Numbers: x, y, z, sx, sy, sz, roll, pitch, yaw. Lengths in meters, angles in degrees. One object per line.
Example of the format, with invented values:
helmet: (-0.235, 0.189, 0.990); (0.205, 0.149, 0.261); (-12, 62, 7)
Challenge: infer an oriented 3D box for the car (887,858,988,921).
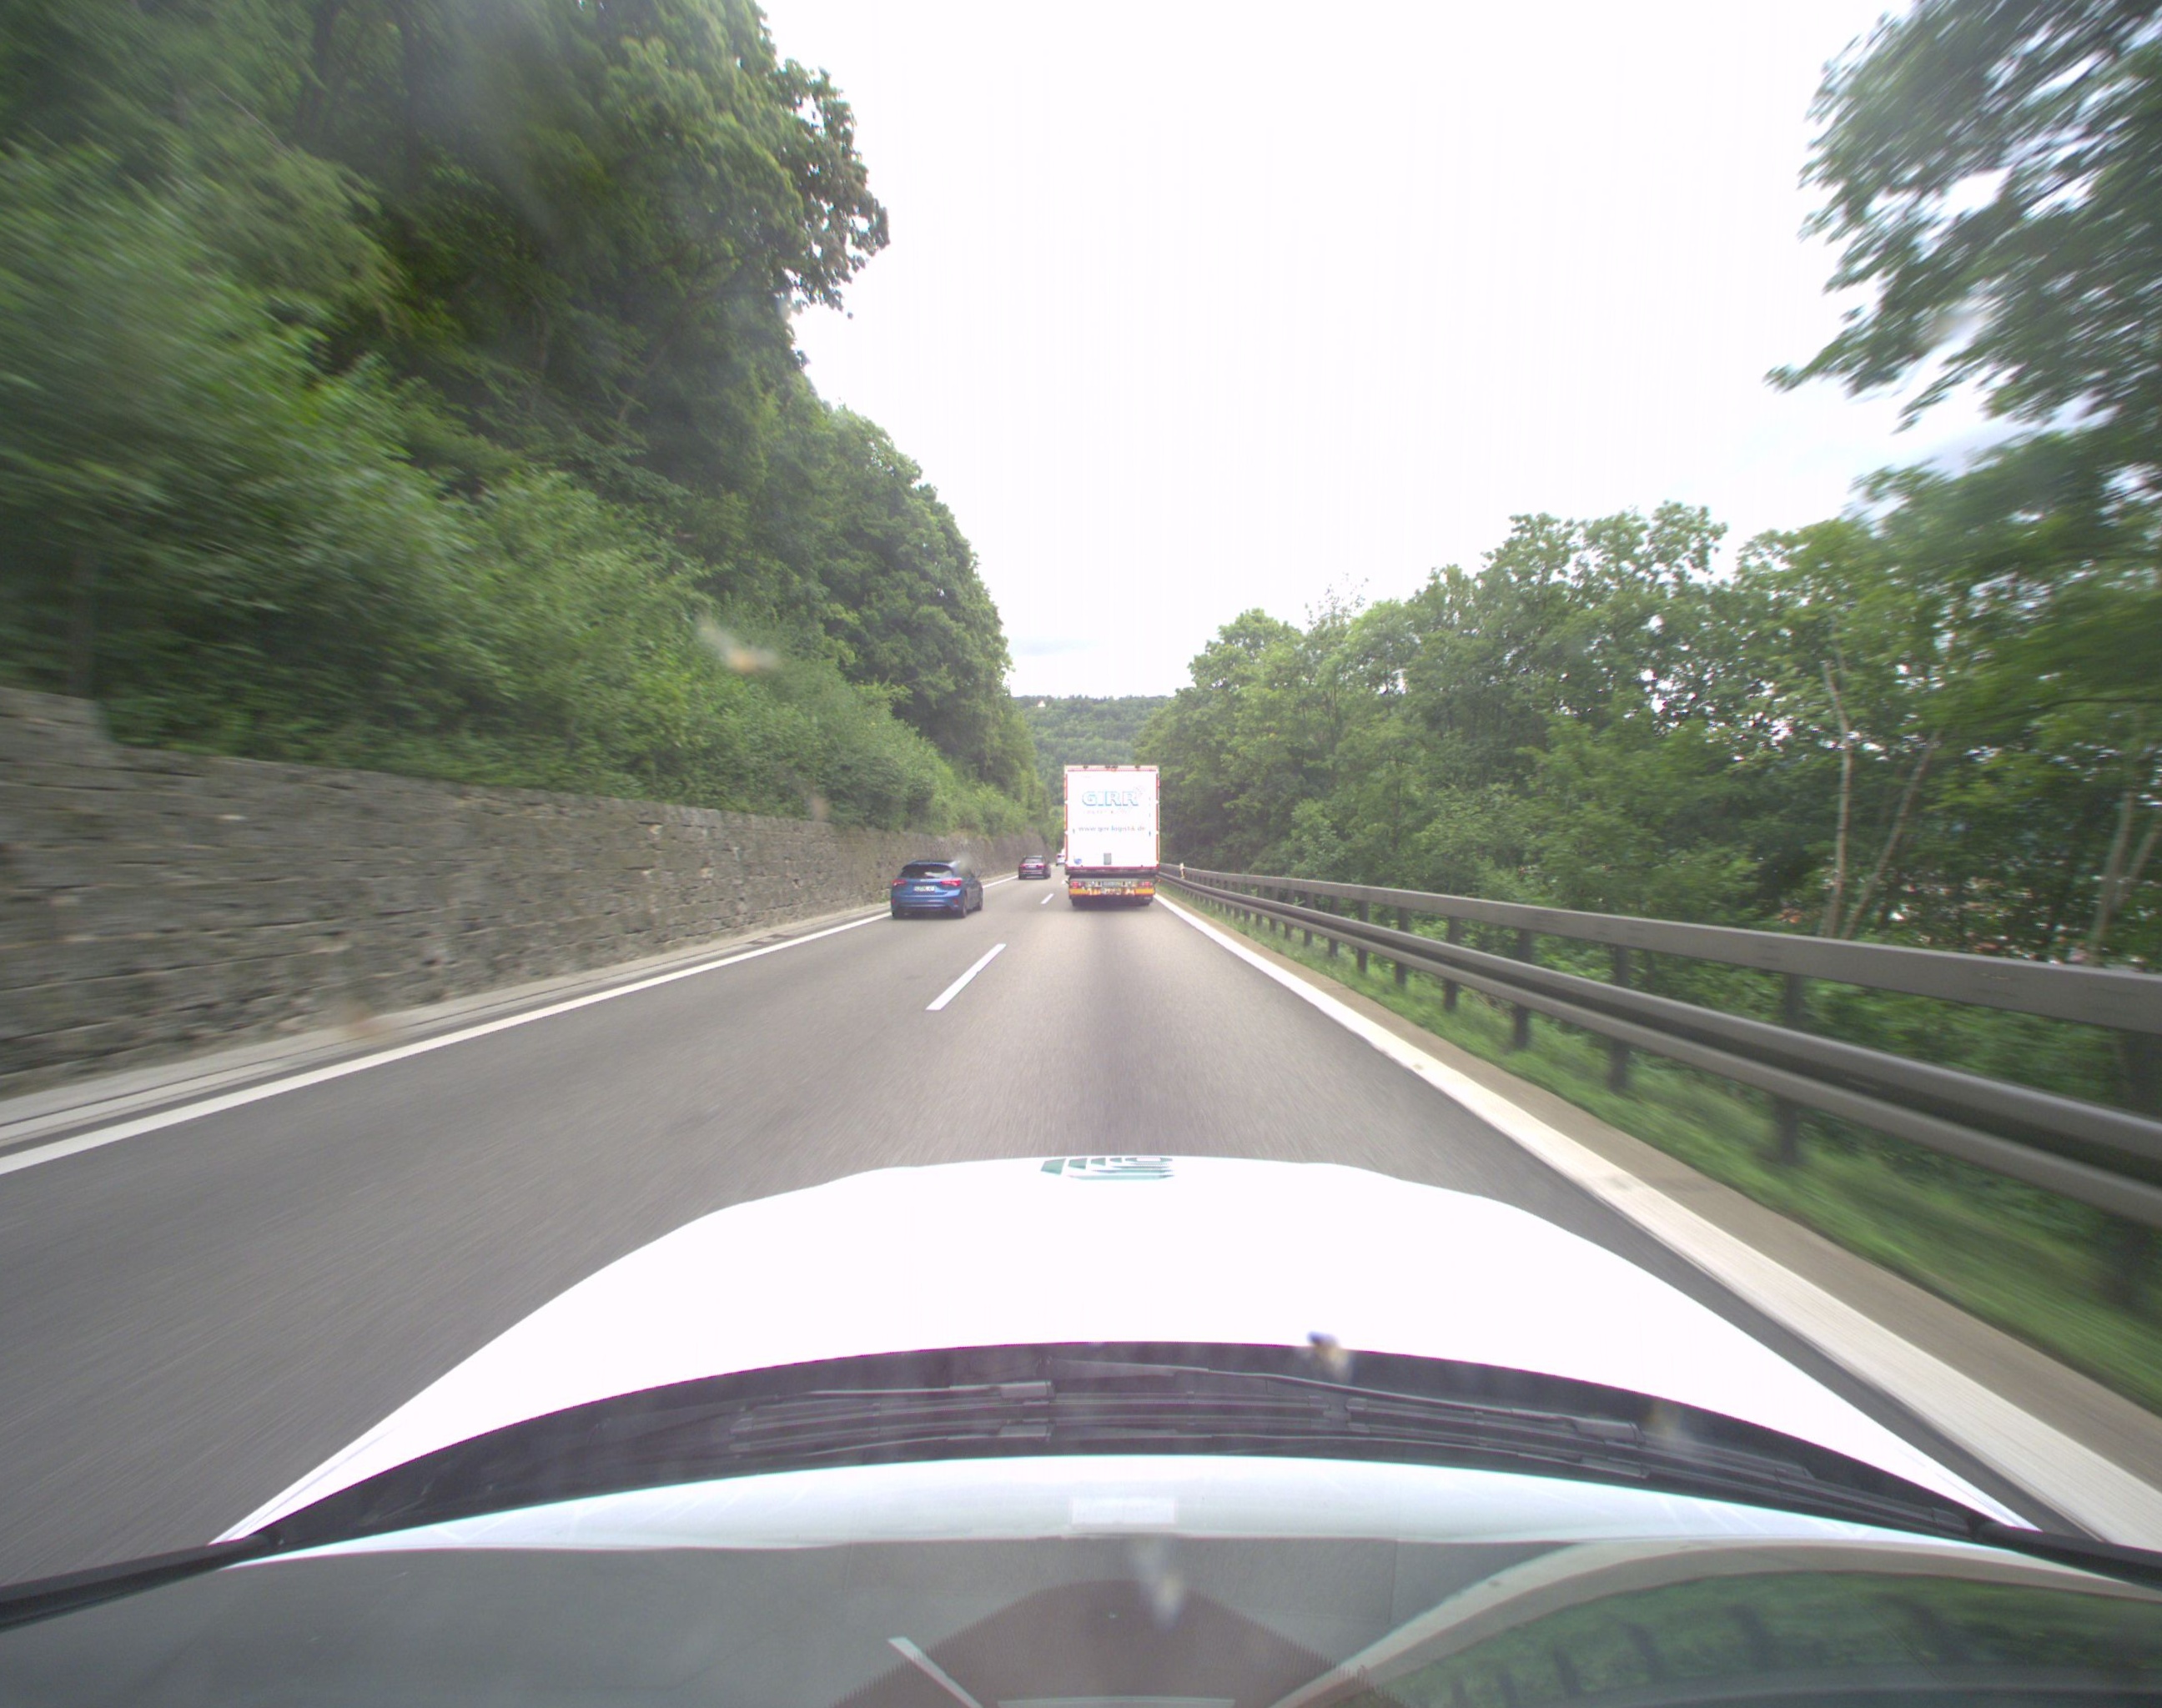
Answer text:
car: (-3.630, 0.840, 21.431); (1.830, 1.469, 4.555); (0, 0, 0)

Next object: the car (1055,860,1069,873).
car: (-2.514, 1.635, 107.719); (1.628, 1.726, 4.345); (0, 0, 1)

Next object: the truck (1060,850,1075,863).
truck: (-2.324, 0.420, 142.732); (2.341, 2.274, 6.848); (2, 0, 0)

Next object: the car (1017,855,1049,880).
car: (-2.986, 0.799, 51.685); (1.755, 1.463, 5.120); (0, 0, -1)

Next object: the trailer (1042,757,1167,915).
trailer: (0.625, -0.506, 26.365); (3.123, 4.042, 9.437); (3, 0, 0)
